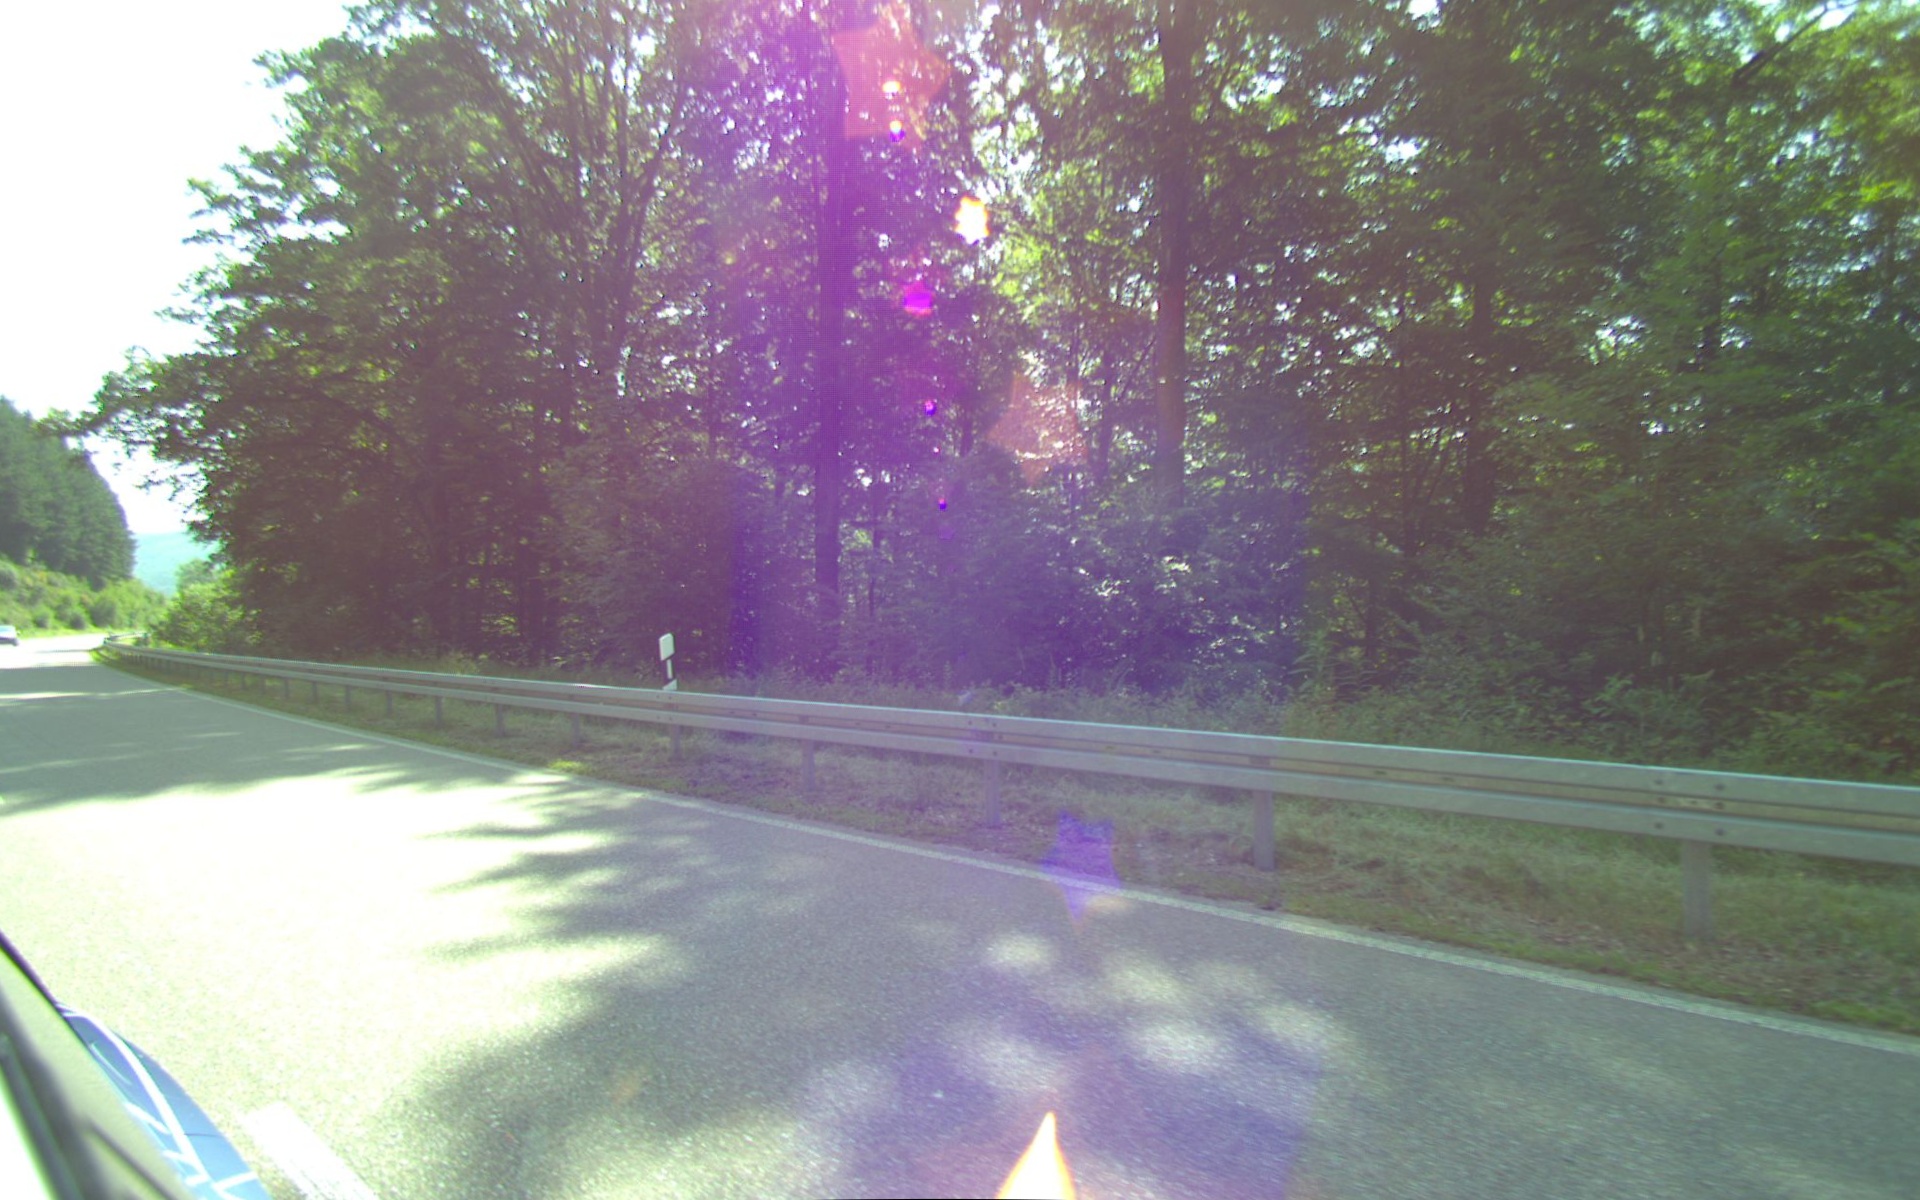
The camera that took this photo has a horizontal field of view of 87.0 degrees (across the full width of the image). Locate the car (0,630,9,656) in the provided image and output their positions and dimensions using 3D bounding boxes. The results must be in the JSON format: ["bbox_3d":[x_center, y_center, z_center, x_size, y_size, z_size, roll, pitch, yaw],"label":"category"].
[{"bbox_3d":[-67.864,3.016,70.590,1.968,1.741,4.007,0,-1,-39],"label":"car"}]
